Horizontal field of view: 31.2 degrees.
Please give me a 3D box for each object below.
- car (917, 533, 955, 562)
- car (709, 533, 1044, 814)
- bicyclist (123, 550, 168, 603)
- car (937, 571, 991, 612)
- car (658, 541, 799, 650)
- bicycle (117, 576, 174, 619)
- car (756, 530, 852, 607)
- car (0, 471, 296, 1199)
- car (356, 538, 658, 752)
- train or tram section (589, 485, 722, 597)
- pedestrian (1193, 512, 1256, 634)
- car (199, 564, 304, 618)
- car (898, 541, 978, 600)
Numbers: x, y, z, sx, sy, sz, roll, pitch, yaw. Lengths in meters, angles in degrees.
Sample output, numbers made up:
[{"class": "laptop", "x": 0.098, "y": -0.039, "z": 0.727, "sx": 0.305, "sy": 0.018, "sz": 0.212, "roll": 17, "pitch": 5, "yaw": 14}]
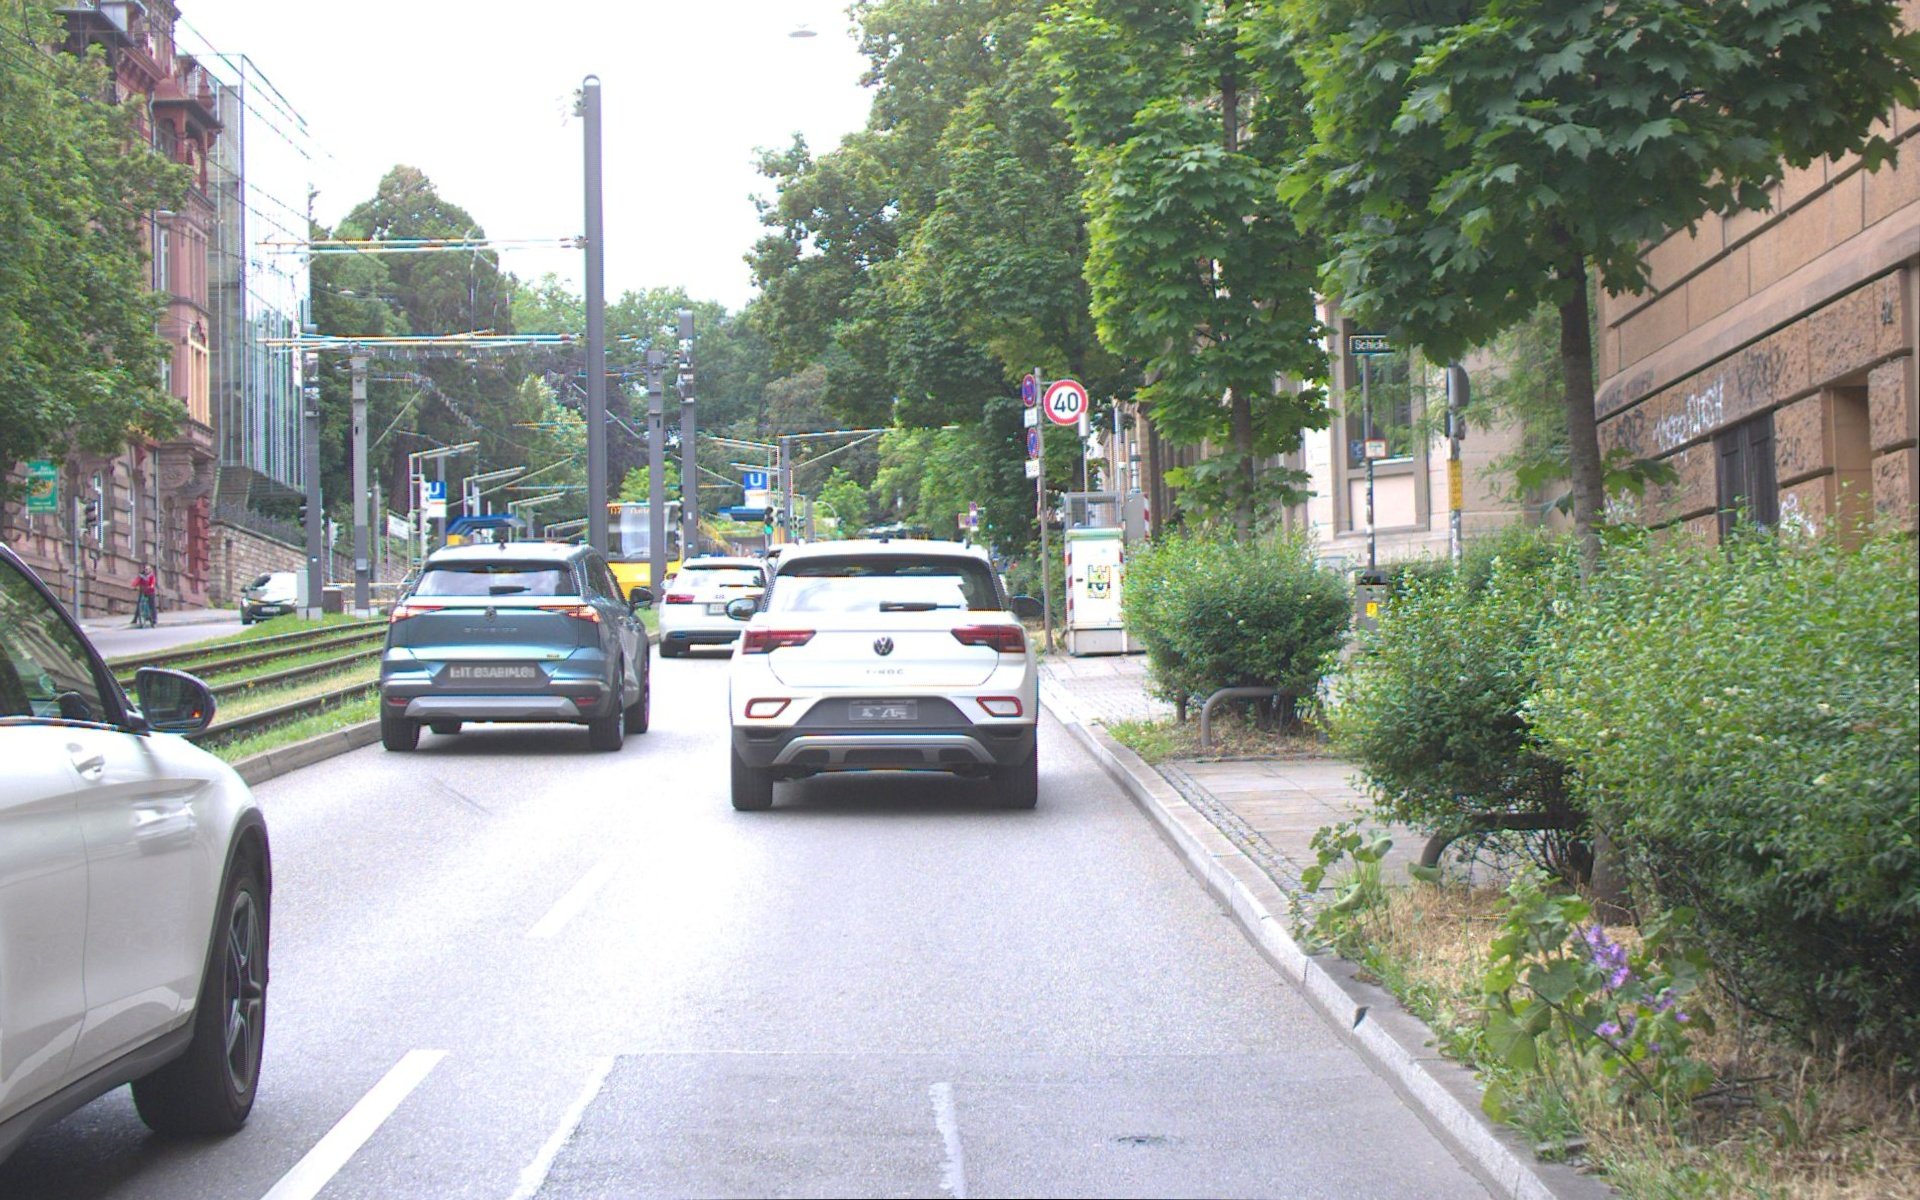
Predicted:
[{"class": "car", "x": -1.329, "y": -2.867, "z": 188.541, "sx": 2.068, "sy": 1.541, "sz": 4.193, "roll": 0, "pitch": 1, "yaw": 0}, {"class": "car", "x": -0.519, "y": 0.383, "z": 21.017, "sx": 1.835, "sy": 1.541, "sz": 4.194, "roll": 0, "pitch": 1, "yaw": -2}, {"class": "bicyclist", "x": -22.170, "y": -0.634, "z": 93.622, "sx": 0.938, "sy": 1.420, "sz": 1.188, "roll": -1, "pitch": 1, "yaw": -1}, {"class": "car", "x": 0.146, "y": -0.326, "z": 132.995, "sx": 2.068, "sy": 1.541, "sz": 4.193, "roll": 0, "pitch": 1, "yaw": 0}, {"class": "car", "x": -3.393, "y": -0.089, "z": 51.001, "sx": 1.835, "sy": 1.541, "sz": 4.193, "roll": 0, "pitch": 1, "yaw": 0}, {"class": "bicycle", "x": -22.157, "y": -0.078, "z": 93.585, "sx": 0.938, "sy": 1.096, "sz": 2.703, "roll": -1, "pitch": 1, "yaw": -1}, {"class": "car", "x": -3.226, "y": -0.662, "z": 71.783, "sx": 1.835, "sy": 1.541, "sz": 4.193, "roll": 0, "pitch": 1, "yaw": 0}, {"class": "car", "x": -2.722, "y": 0.576, "z": 7.223, "sx": 1.835, "sy": 1.661, "sz": 4.671, "roll": 0, "pitch": 1, "yaw": -1}, {"class": "car", "x": -3.459, "y": 0.301, "z": 26.963, "sx": 1.835, "sy": 1.541, "sz": 4.193, "roll": 0, "pitch": 1, "yaw": 0}, {"class": "train or tram section", "x": -9.737, "y": -1.868, "z": 111.471, "sx": 2.996, "sy": 3.337, "sz": 13.439, "roll": -1, "pitch": 1, "yaw": 0}, {"class": "pedestrian", "x": 3.658, "y": -0.377, "z": 47.567, "sx": 0.710, "sy": 1.657, "sz": 1.126, "roll": -1, "pitch": 1, "yaw": 11}, {"class": "car", "x": -19.134, "y": -0.263, "z": 93.002, "sx": 1.993, "sy": 1.398, "sz": 4.000, "roll": -1, "pitch": 1, "yaw": 0}, {"class": "car", "x": -0.584, "y": -0.793, "z": 91.580, "sx": 2.068, "sy": 1.541, "sz": 4.193, "roll": 0, "pitch": 1, "yaw": 0}]
